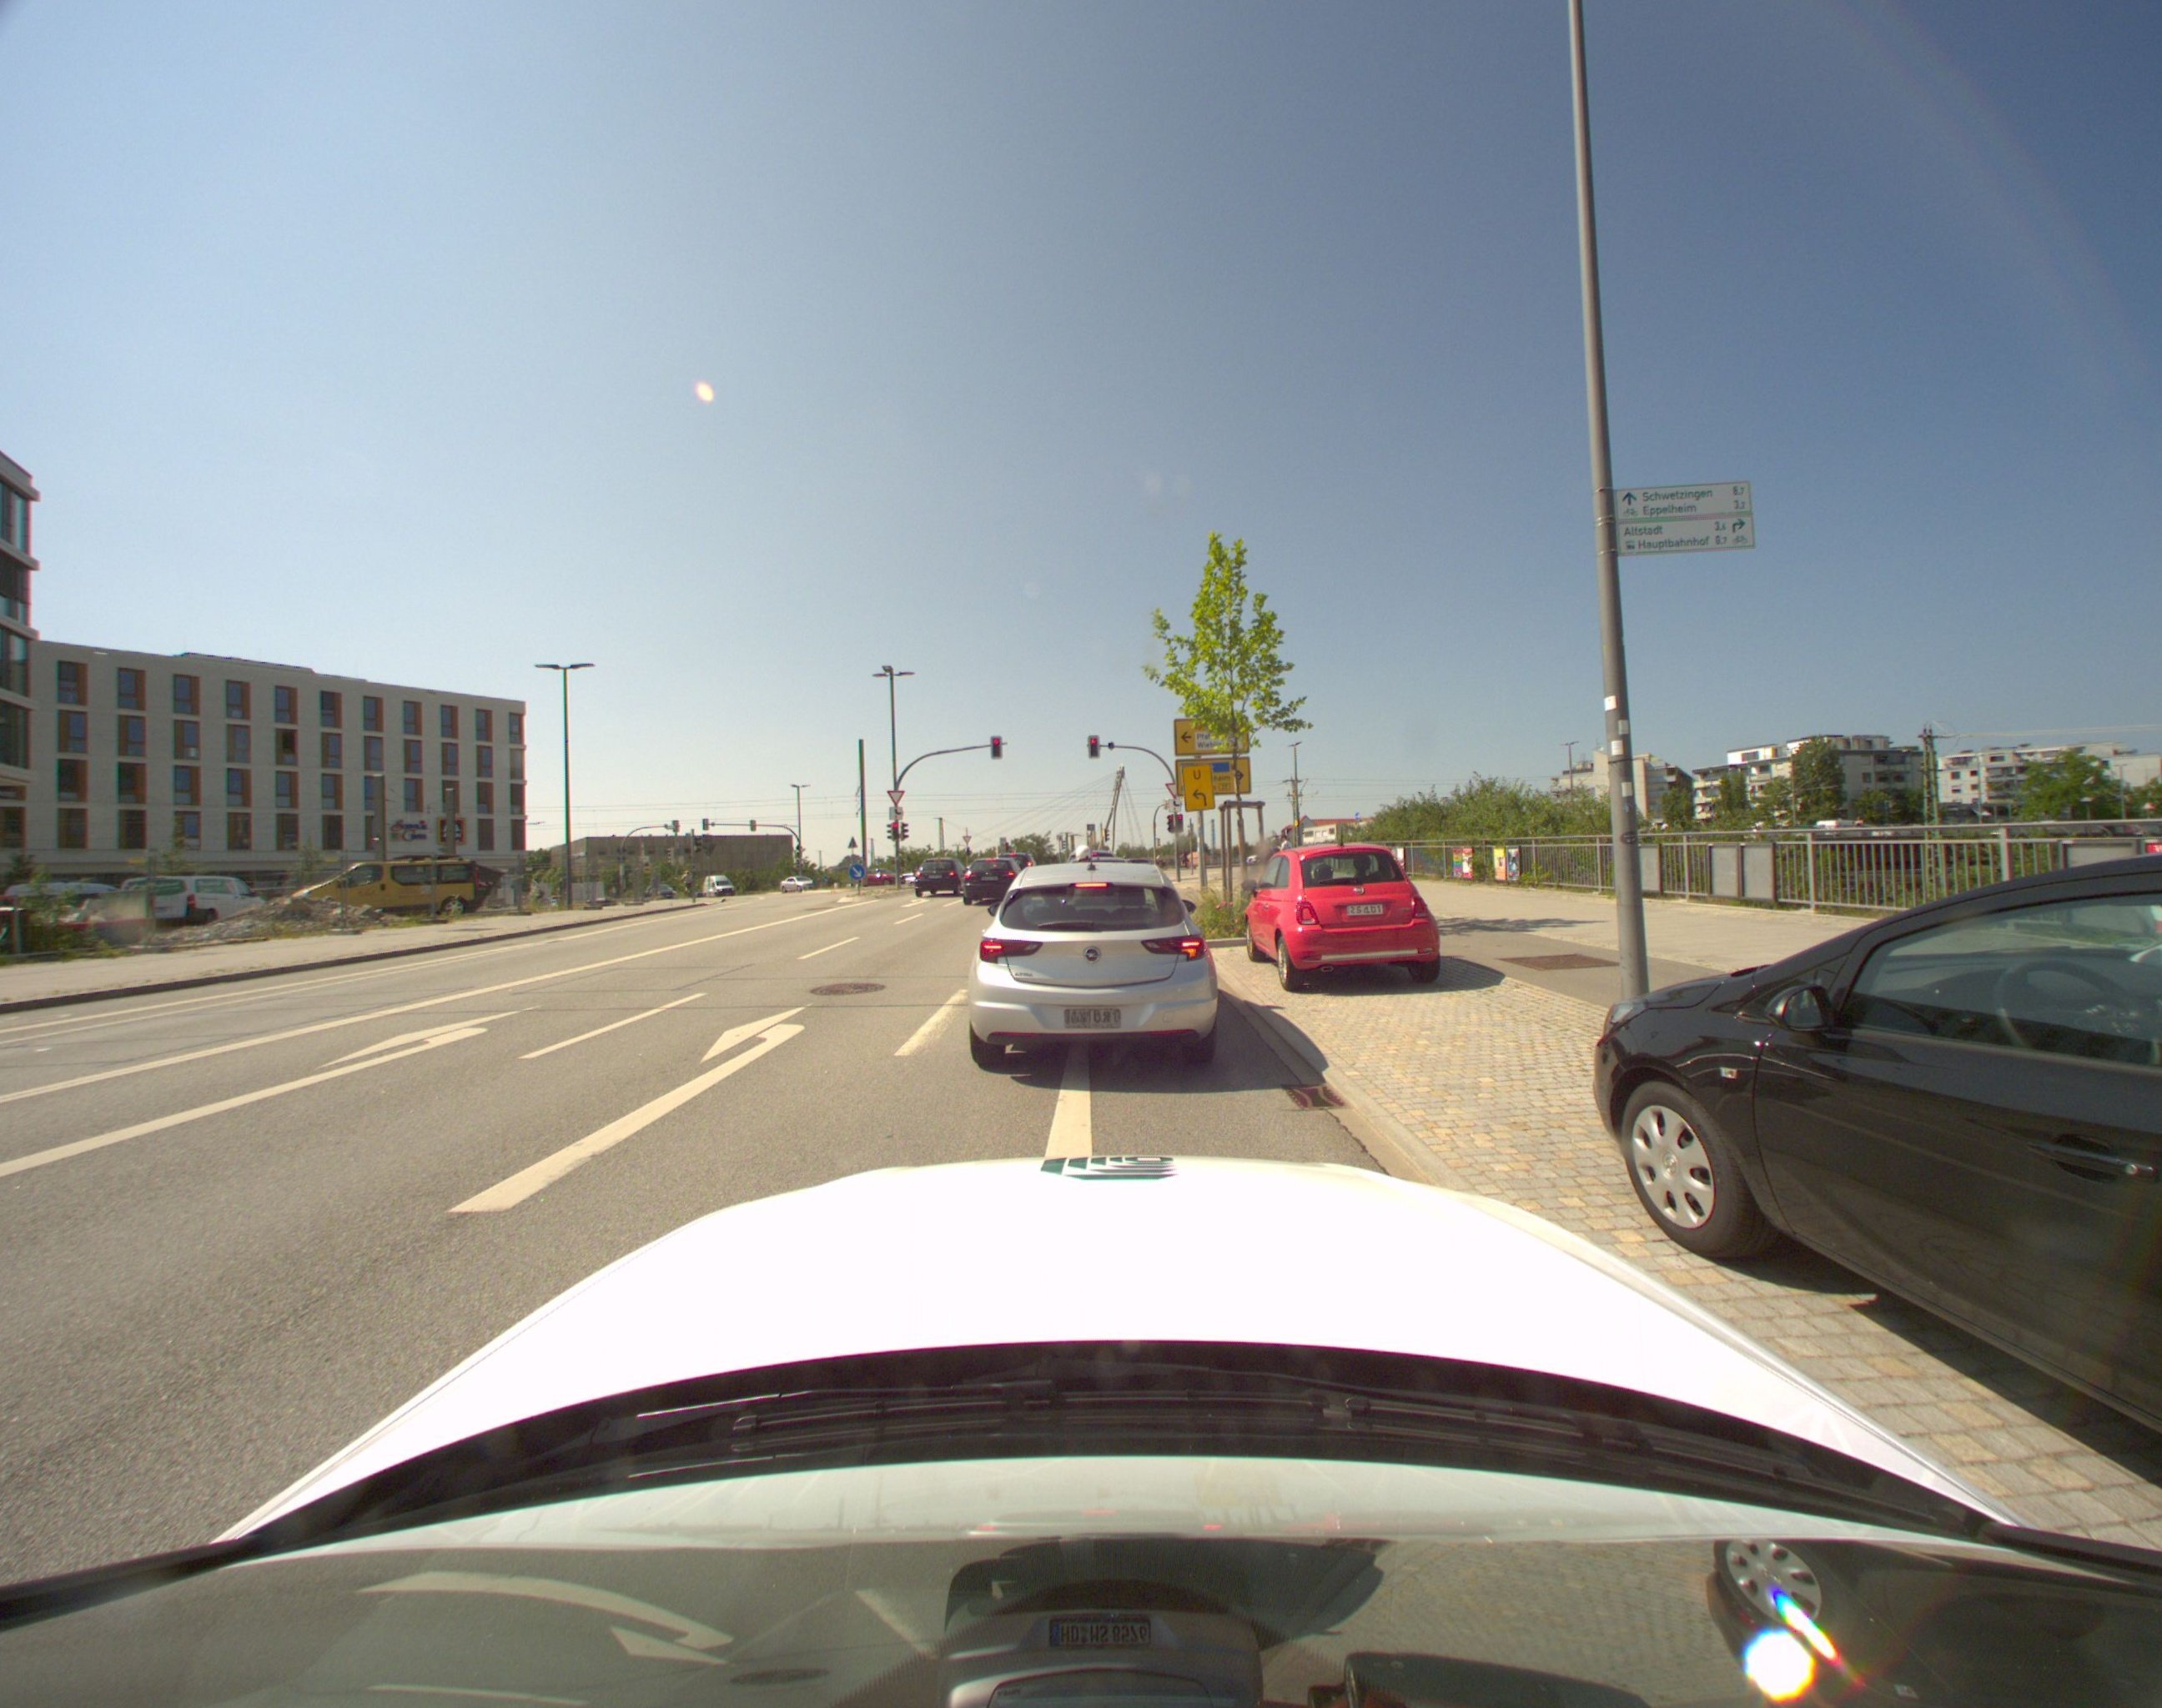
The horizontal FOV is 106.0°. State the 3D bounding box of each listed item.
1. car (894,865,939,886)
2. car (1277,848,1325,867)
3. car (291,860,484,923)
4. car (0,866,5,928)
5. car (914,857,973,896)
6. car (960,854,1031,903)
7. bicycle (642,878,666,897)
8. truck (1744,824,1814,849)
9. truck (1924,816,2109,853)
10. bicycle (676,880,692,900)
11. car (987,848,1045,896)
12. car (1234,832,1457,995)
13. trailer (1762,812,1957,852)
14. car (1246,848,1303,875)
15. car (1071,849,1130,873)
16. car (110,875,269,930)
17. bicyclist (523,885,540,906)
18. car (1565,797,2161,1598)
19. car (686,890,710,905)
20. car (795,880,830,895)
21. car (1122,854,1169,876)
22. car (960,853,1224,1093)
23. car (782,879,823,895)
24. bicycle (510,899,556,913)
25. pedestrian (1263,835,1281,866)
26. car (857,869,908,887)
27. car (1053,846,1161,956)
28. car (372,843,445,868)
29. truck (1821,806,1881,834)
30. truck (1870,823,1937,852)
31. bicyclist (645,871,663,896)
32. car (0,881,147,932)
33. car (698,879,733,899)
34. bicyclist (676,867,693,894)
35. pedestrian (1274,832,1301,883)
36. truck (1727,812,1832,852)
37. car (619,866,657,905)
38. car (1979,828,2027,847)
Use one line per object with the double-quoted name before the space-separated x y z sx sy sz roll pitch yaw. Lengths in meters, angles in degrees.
"car" -16.358 2.147 80.836 3.950 2.014 2.012 -2 -1 26
"car" 16.652 0.283 61.659 3.148 1.439 1.578 0 -1 -15
"car" -22.544 1.152 26.626 1.974 1.890 4.514 -1 -1 40
"car" -36.248 1.404 25.054 2.220 2.056 4.133 0 -1 -28
"car" -5.210 0.840 31.194 1.581 1.395 3.340 -1 -1 1
"car" -2.622 0.751 25.927 1.699 1.412 4.001 0 -1 2
"bicycle" -28.168 2.224 53.709 0.732 1.134 2.501 0 -3 -44
"truck" 68.635 -1.733 80.142 5.858 2.367 2.109 0 -1 -12
"truck" 87.804 -1.774 76.412 17.857 3.204 3.723 0 -1 -14
"bicycle" -23.438 2.118 48.064 0.679 1.127 2.342 1 -1 -31
"car" -2.478 0.691 31.929 1.797 1.622 3.917 -4 -1 1
"car" 2.996 0.576 10.061 1.662 1.539 3.921 -3 0 4
"trailer" 68.076 -1.797 71.171 17.225 3.204 3.723 0 -1 -14
"car" 15.512 0.606 65.244 3.995 2.014 1.989 -1 -1 -16
"car" 1.547 0.578 63.384 4.530 1.783 2.001 -1 -1 1
"car" -31.058 1.627 28.590 2.003 1.707 4.526 0 -1 -23
"bicyclist" -33.137 2.495 49.136 0.660 1.175 0.725 -5 -1 -24
"car" 2.877 0.644 1.709 1.576 1.555 3.548 -4 0 1
"car" -53.812 6.117 114.360 2.010 2.014 3.953 -1 -1 -40
"car" -29.626 3.677 89.826 4.155 1.645 1.844 -1 -1 41
"car" 6.079 1.063 77.010 3.992 2.014 1.991 0 -1 -14
"car" 0.118 0.779 7.390 1.685 1.520 4.271 -1 0 1
"car" -24.727 2.924 72.307 3.667 1.333 1.783 -1 -1 41
"bicycle" -33.074 3.142 49.165 2.254 0.692 0.512 -1 -1 -21
"pedestrian" 11.756 -0.220 50.157 0.746 1.863 0.745 1 -2 -41
"car" -16.217 1.961 66.514 3.949 1.455 1.695 -1 -1 29
"car" 0.438 0.743 14.245 1.629 1.674 3.745 0 -1 1
"car" -54.326 0.126 65.862 3.990 2.014 1.991 0 -1 -12
"truck" 74.135 -3.260 78.441 4.701 2.541 1.990 0 -1 -15
"truck" 85.909 -1.707 85.102 5.858 2.883 2.109 0 -1 -12
"bicyclist" -28.169 1.943 53.665 0.868 1.560 0.815 1 -4 -43
"car" -33.669 1.685 27.240 1.809 1.508 3.965 0 -1 -27
"car" -38.354 3.646 85.417 3.948 2.014 1.619 -1 -1 35
"bicyclist" -23.327 1.526 47.906 0.825 1.569 0.939 1 -1 -30
"pedestrian" 7.507 0.117 29.586 0.755 1.830 0.885 0 -1 1
"truck" 59.023 -1.800 68.880 6.478 3.204 3.721 0 -1 -14
"car" -24.005 1.648 44.238 1.679 2.014 3.964 0 -1 -27
"car" 101.772 -1.782 89.878 3.994 2.014 1.989 0 -1 -16
